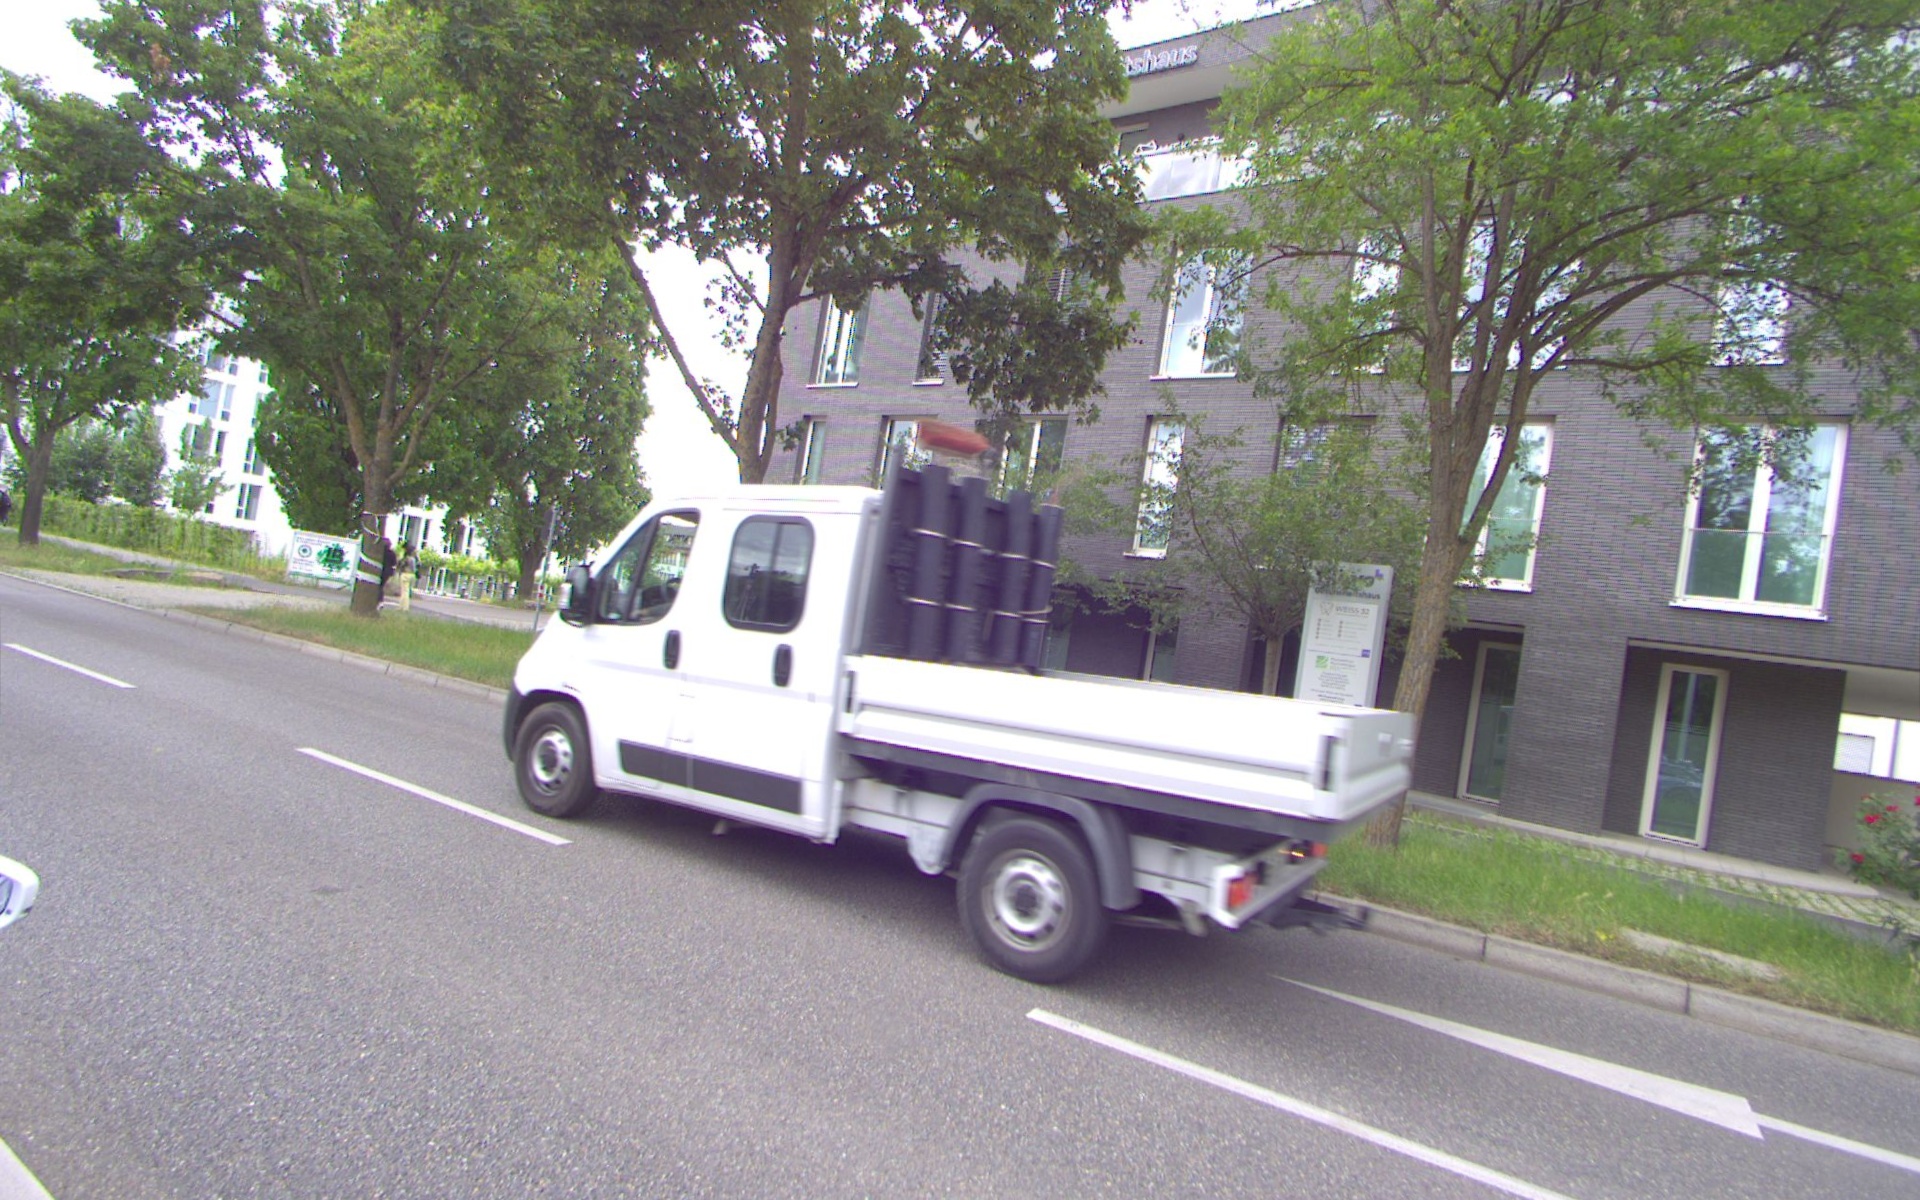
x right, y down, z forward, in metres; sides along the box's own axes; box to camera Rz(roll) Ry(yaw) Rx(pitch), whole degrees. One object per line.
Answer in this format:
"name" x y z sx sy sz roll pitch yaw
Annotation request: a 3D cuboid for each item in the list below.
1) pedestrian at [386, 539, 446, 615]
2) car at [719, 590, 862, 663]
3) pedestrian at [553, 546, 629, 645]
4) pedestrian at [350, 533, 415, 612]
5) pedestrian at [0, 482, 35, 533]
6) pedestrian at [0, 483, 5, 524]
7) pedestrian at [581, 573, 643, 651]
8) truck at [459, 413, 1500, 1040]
"pedestrian" -13.174 -0.546 24.356 0.937 1.679 0.779 7 -1 38
"car" -5.297 0.820 31.264 4.080 1.665 1.759 7 -2 32
"pedestrian" -7.704 -0.100 20.979 0.957 1.889 0.966 9 -2 -44
"pedestrian" -13.643 -0.647 23.763 1.043 1.679 0.796 7 -1 38
"pedestrian" -35.052 -3.429 37.287 0.868 1.705 0.768 6 -1 31
"pedestrian" -35.497 -3.513 36.643 0.868 1.614 0.701 6 -1 31
"pedestrian" -7.645 0.261 22.106 0.830 1.575 0.865 9 -2 -42
"truck" -0.200 0.286 6.054 5.749 2.228 2.216 7 -2 33
